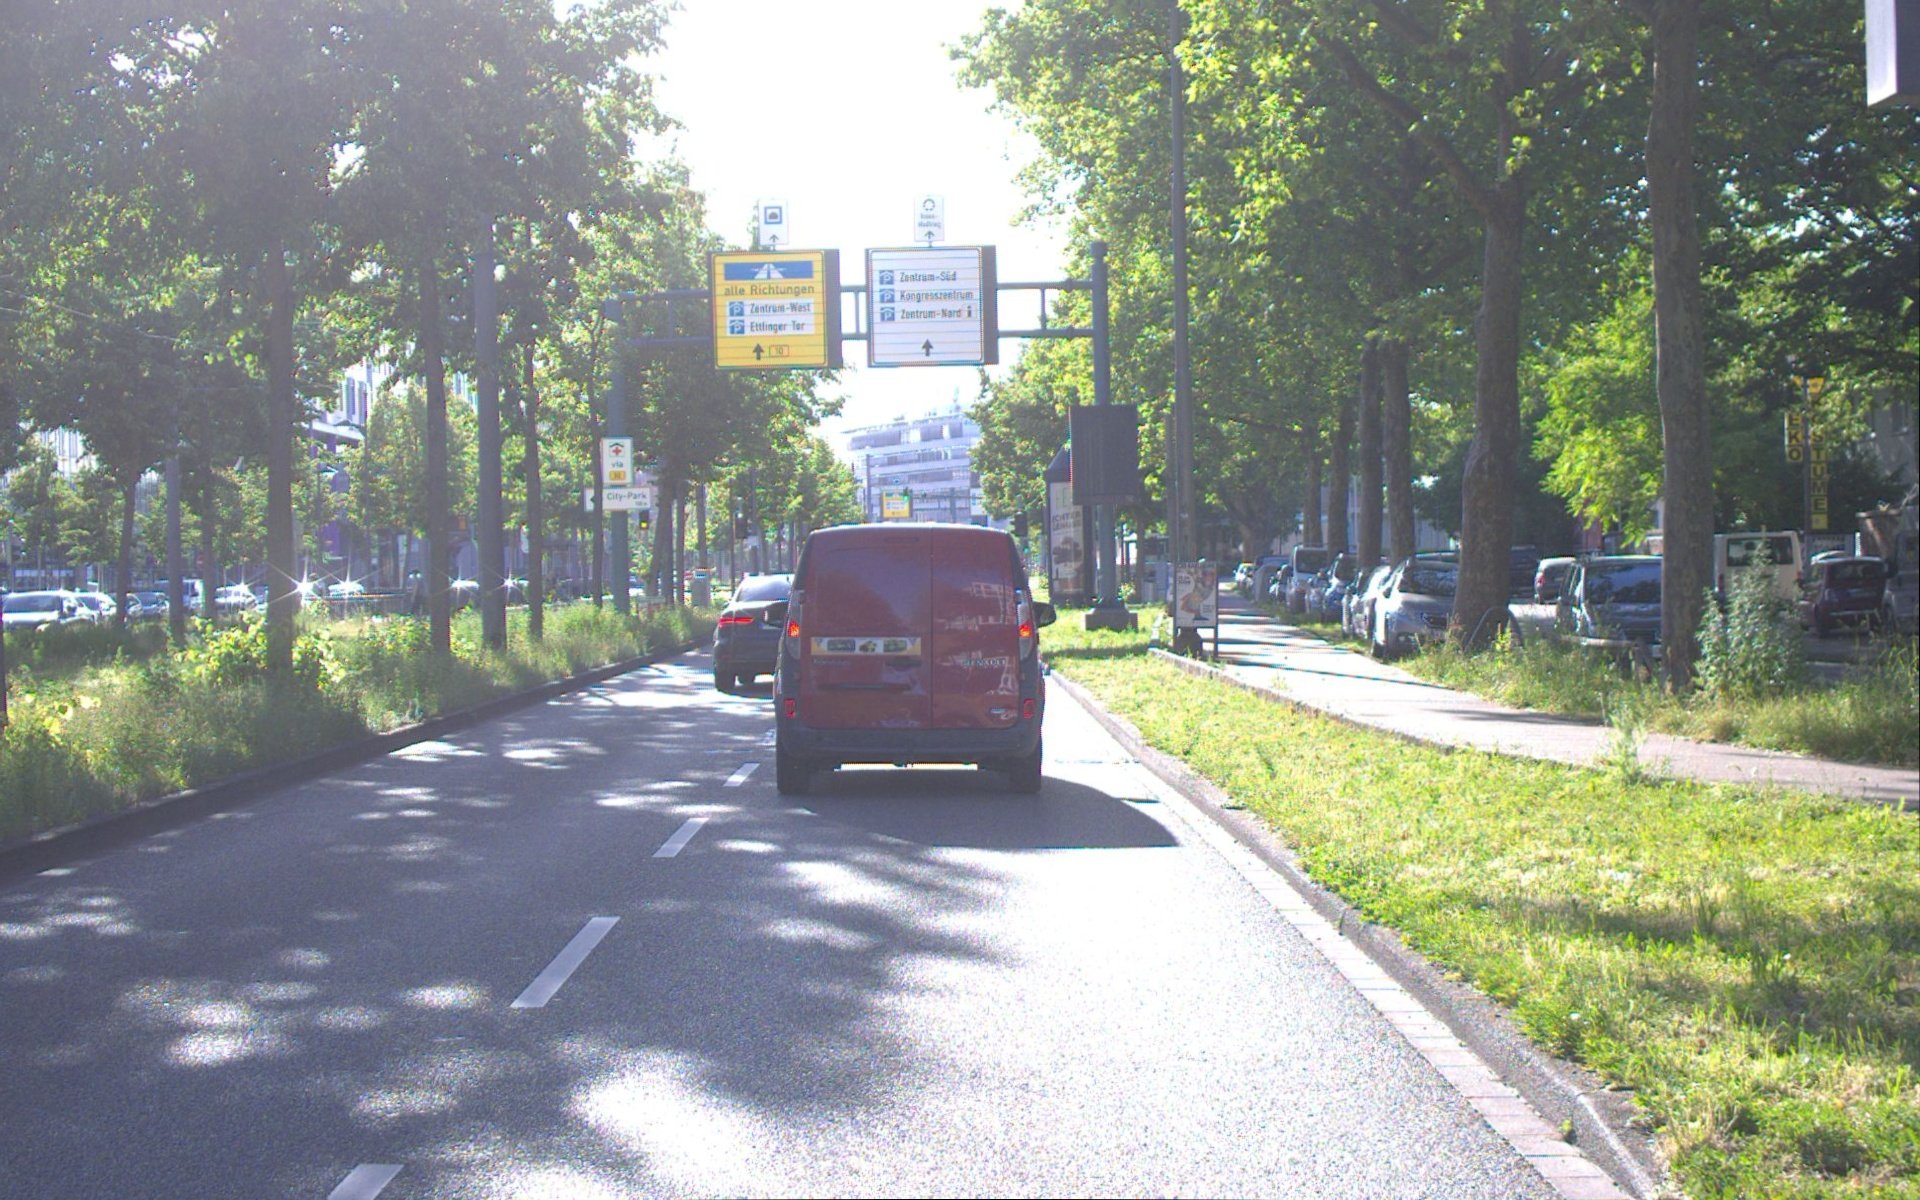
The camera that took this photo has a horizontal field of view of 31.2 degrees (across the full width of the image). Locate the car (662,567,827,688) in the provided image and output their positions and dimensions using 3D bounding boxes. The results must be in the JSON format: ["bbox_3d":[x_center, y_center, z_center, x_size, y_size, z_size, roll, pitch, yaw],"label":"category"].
[{"bbox_3d":[-2.632,0.318,42.734,1.792,1.423,4.000,1,0,0],"label":"car"}]

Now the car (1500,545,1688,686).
[{"bbox_3d":[7.757,0.179,42.405,1.793,1.629,4.626,1,0,5],"label":"car"}]

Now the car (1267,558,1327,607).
[{"bbox_3d":[10.355,-0.531,105.667,1.662,1.495,2.989,1,0,2],"label":"car"}]

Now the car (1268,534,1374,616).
[{"bbox_3d":[9.193,-0.623,87.956,2.190,2.007,5.820,1,0,1],"label":"car"}]

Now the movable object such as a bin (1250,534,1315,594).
[{"bbox_3d":[10.864,-1.199,115.959,2.081,2.007,2.136,1,0,4],"label":"movable object such as a bin"}]

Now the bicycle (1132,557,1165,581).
[{"bbox_3d":[10.154,-1.656,185.209,1.778,1.264,0.479,1,0,1],"label":"bicycle"}]

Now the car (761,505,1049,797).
[{"bbox_3d":[-0.452,0.320,23.782,1.808,1.831,4.000,1,0,-3],"label":"car"}]

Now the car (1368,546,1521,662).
[{"bbox_3d":[7.004,0.054,49.997,1.793,1.555,4.020,2,0,3],"label":"car"}]

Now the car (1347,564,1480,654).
[{"bbox_3d":[7.519,0.148,57.258,1.793,1.433,3.884,1,0,2],"label":"car"}]

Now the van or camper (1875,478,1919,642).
[{"bbox_3d":[16.840,-0.710,55.803,2.557,2.675,6.564,-3,1,4],"label":"van or camper"}]

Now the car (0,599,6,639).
[{"bbox_3d":[-32.634,0.627,111.752,1.912,1.321,4.611,1,0,1],"label":"car"}]

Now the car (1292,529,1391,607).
[{"bbox_3d":[8.279,-0.675,74.800,1.736,1.636,4.352,1,0,1],"label":"car"}]

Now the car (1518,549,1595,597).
[{"bbox_3d":[20.615,-0.923,118.942,1.993,1.634,4.000,1,0,1],"label":"car"}]

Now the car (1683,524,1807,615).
[{"bbox_3d":[18.066,-0.707,79.336,2.087,2.007,4.942,-1,0,5],"label":"car"}]

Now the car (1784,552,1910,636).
[{"bbox_3d":[16.990,-0.127,65.978,1.690,1.467,3.757,-3,0,5],"label":"car"}]

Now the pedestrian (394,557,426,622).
[{"bbox_3d":[-15.603,-0.303,97.573,0.820,1.829,0.726,1,0,-3],"label":"pedestrian"}]

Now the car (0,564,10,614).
[{"bbox_3d":[-39.748,-0.462,137.760,1.993,2.007,4.563,1,0,1],"label":"car"}]

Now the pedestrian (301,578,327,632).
[{"bbox_3d":[-17.925,0.137,95.367,0.550,1.513,0.588,1,0,5],"label":"pedestrian"}]
